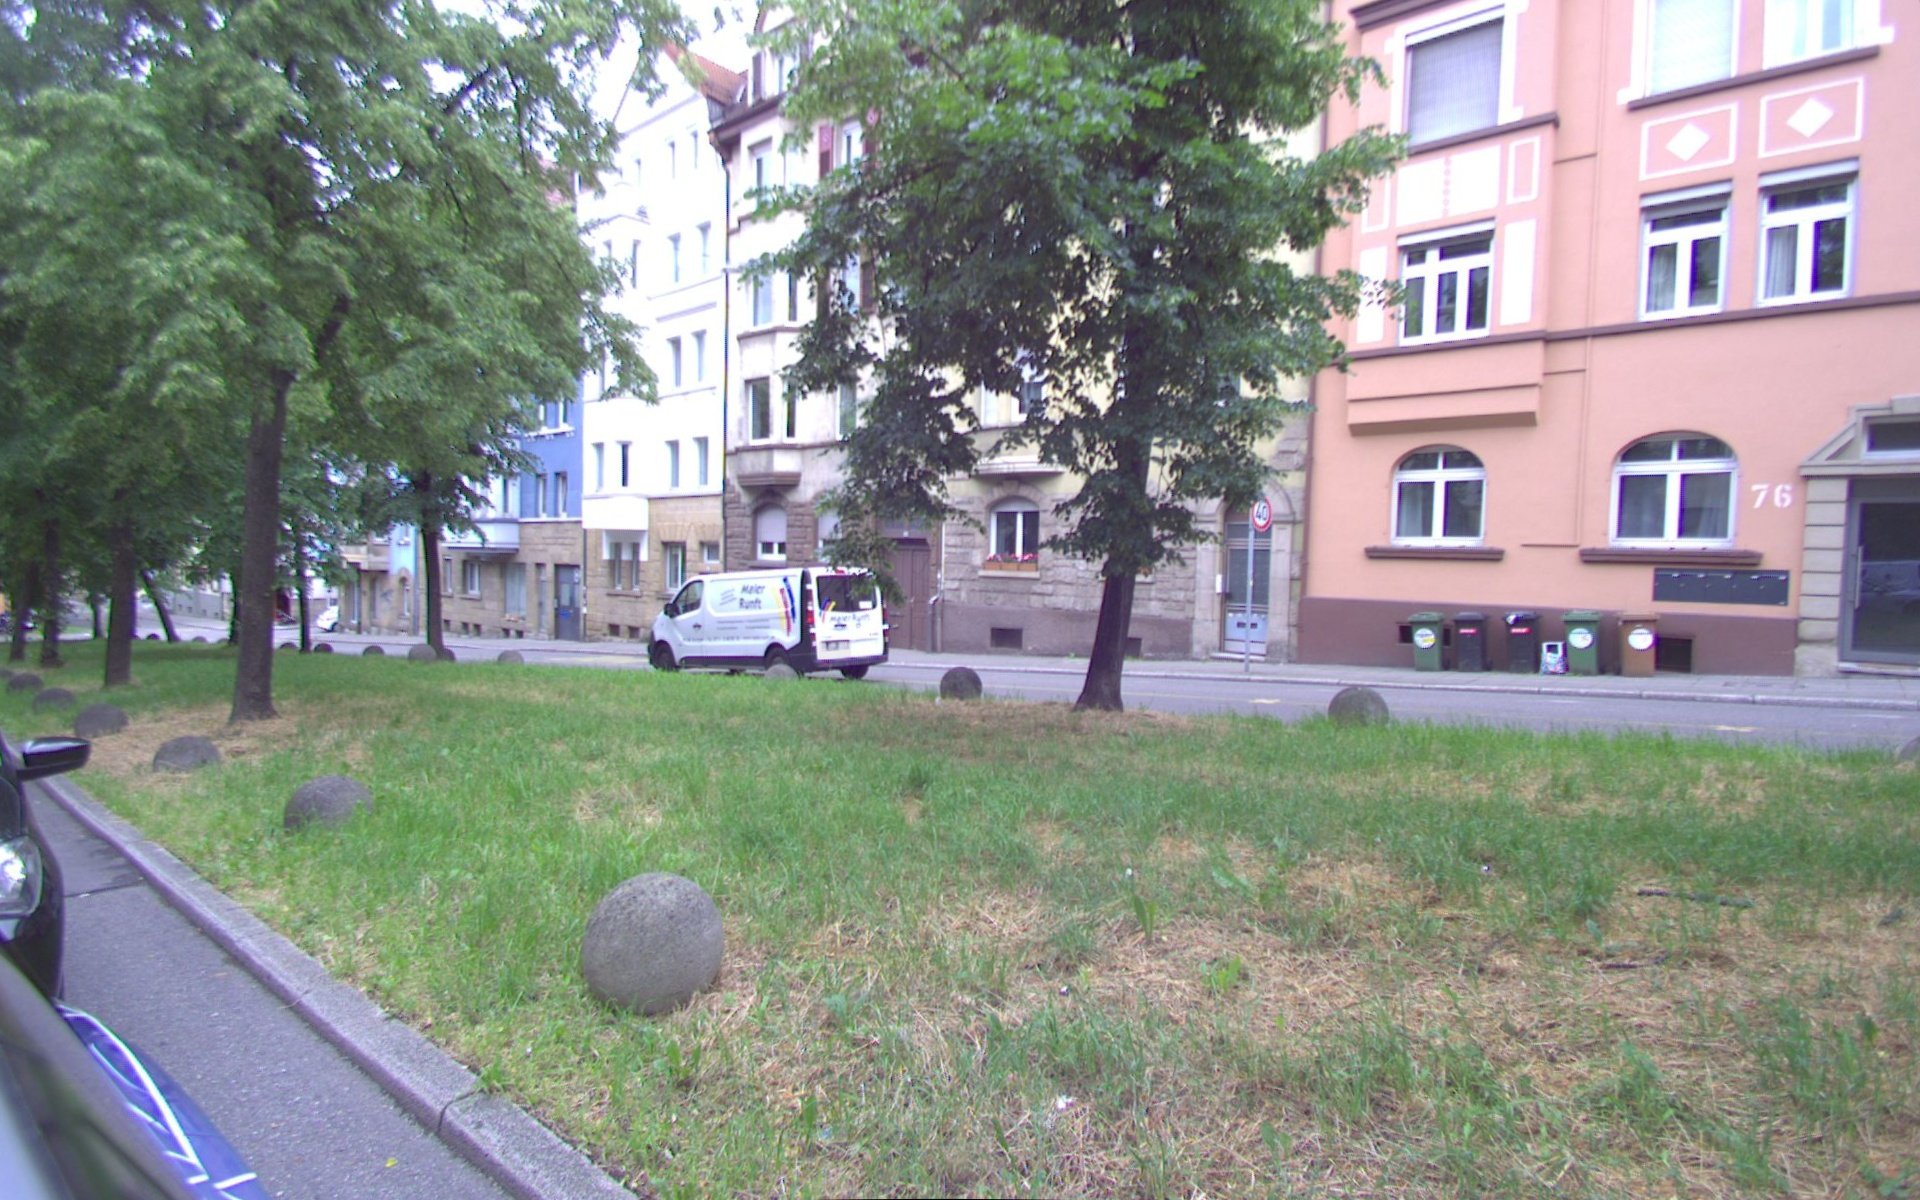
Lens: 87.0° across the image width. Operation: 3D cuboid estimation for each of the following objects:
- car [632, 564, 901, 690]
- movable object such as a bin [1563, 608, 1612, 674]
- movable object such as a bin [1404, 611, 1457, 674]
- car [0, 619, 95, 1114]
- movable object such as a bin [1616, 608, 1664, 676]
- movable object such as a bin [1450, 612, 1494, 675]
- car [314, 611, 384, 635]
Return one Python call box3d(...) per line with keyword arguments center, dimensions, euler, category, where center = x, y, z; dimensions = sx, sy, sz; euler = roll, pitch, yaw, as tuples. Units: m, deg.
box3d(center=(-3.650, 0.456, 18.336), dimensions=(5.306, 1.959, 1.972), euler=(-2, 0, 42), category="car")
box3d(center=(9.151, 0.589, 14.756), dimensions=(0.558, 0.928, 0.648), euler=(-1, 0, 36), category="movable object such as a bin")
box3d(center=(7.526, 0.667, 16.180), dimensions=(0.617, 0.955, 0.610), euler=(-1, 0, 40), category="movable object such as a bin")
box3d(center=(-4.504, 0.802, 3.674), dimensions=(3.295, 1.476, 1.590), euler=(-1, -2, 41), category="car")
box3d(center=(9.640, 0.582, 14.341), dimensions=(0.514, 0.928, 0.750), euler=(-1, 0, 36), category="movable object such as a bin")
box3d(center=(8.000, 0.672, 15.808), dimensions=(0.531, 0.953, 0.575), euler=(-1, 0, 35), category="movable object such as a bin")
box3d(center=(-35.336, 1.307, 58.507), dimensions=(3.244, 1.341, 1.674), euler=(-1, 0, -40), category="car")
